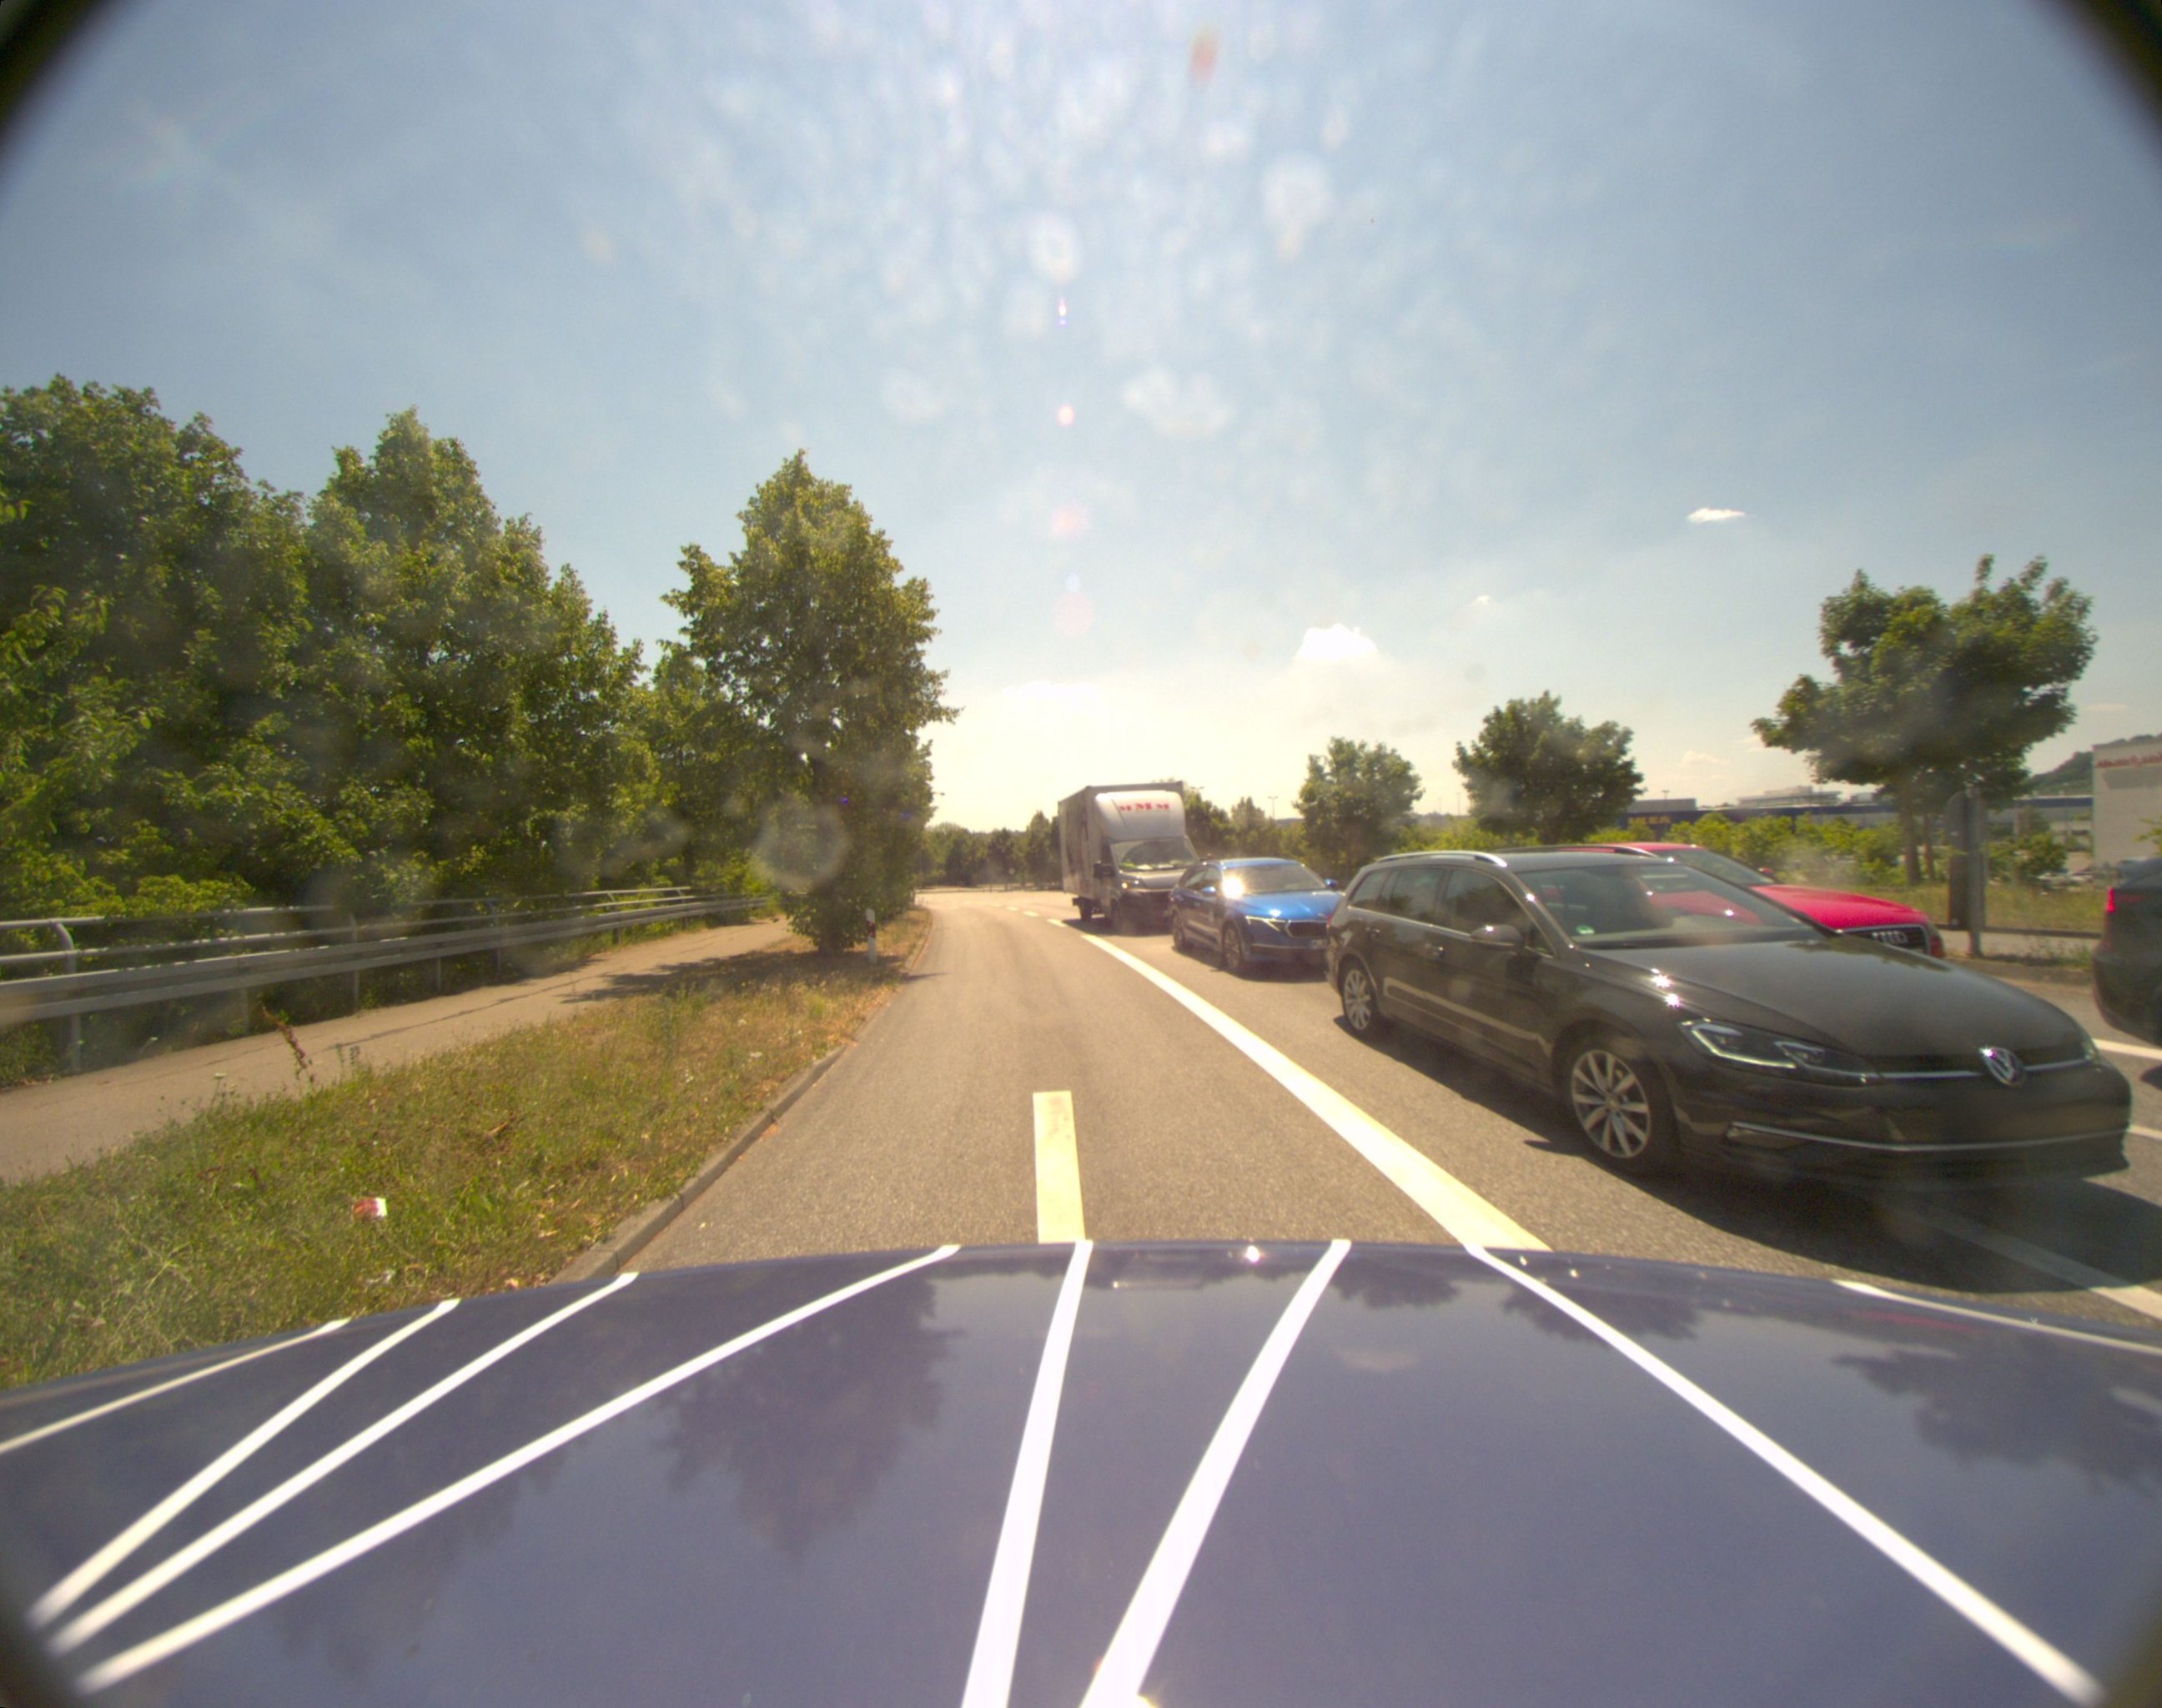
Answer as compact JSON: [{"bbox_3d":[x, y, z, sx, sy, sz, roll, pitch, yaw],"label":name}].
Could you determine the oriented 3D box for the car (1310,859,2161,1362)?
[{"bbox_3d":[3.118,0.823,4.658,1.783,1.474,4.427,-2,0,-4],"label":"car"}]

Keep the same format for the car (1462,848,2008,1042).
[{"bbox_3d":[6.148,0.675,8.031,1.665,1.380,4.447,-3,1,-5],"label":"car"}]

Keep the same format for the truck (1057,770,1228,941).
[{"bbox_3d":[1.140,0.097,18.790,2.416,3.327,7.198,-2,-1,-9],"label":"truck"}]

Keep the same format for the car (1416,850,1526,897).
[{"bbox_3d":[17.814,0.874,34.830,2.004,1.949,3.989,-3,1,-40],"label":"car"}]

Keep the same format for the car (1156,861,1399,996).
[{"bbox_3d":[2.504,0.883,10.988,1.713,1.454,4.486,-3,0,-9],"label":"car"}]

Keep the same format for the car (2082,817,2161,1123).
[{"bbox_3d":[6.714,0.590,2.076,1.880,1.592,4.503,-2,1,-5],"label":"car"}]
